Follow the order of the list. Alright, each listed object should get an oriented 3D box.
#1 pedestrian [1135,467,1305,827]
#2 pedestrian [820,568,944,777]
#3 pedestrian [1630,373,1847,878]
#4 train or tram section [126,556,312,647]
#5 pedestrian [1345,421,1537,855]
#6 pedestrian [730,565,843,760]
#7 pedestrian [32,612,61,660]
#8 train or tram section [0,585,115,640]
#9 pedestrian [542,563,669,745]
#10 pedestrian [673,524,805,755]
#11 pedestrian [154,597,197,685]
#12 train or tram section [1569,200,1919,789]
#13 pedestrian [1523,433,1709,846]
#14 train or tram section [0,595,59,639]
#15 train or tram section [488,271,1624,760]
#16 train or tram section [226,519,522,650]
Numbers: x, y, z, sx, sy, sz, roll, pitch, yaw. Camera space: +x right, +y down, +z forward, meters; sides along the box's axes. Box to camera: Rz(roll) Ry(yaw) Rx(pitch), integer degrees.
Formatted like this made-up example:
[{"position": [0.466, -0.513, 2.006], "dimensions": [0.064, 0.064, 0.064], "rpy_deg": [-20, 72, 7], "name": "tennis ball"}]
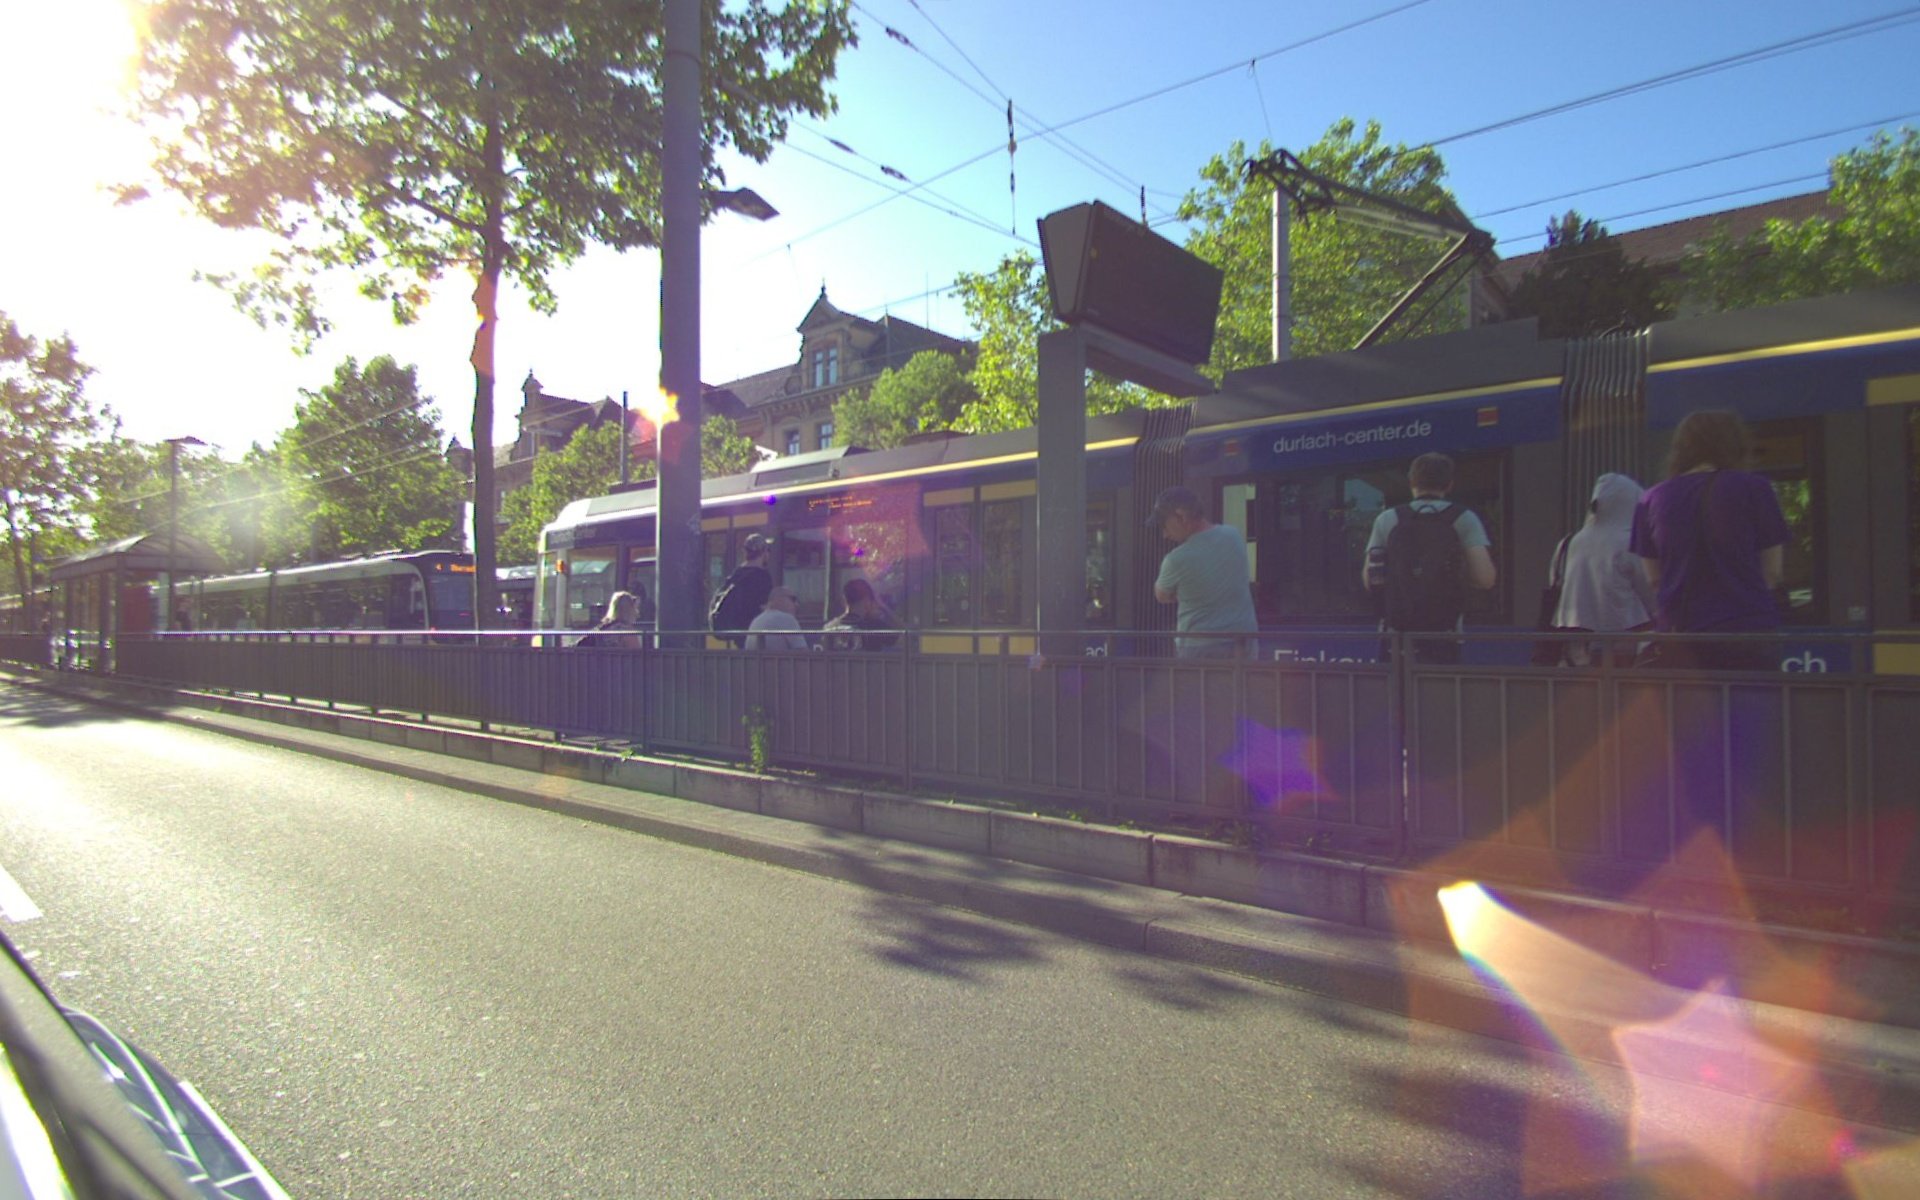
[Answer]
[{"position": [1.304, 0.225, 5.064], "dimensions": [0.570, 1.646, 0.653], "rpy_deg": [-2, -3, 41], "name": "pedestrian"}, {"position": [-0.498, 0.450, 6.507], "dimensions": [0.604, 1.256, 0.528], "rpy_deg": [-2, -3, 39], "name": "pedestrian"}, {"position": [2.971, 0.093, 3.860], "dimensions": [0.570, 1.709, 0.653], "rpy_deg": [-2, -3, 41], "name": "pedestrian"}, {"position": [-34.007, 0.280, 45.811], "dimensions": [18.265, 3.460, 2.841], "rpy_deg": [-2, -1, 41], "name": "train or tram section"}, {"position": [2.106, 0.157, 4.425], "dimensions": [0.570, 1.709, 0.653], "rpy_deg": [-2, -3, 41], "name": "pedestrian"}, {"position": [-1.234, 0.435, 7.221], "dimensions": [0.603, 1.309, 0.529], "rpy_deg": [-2, -3, 37], "name": "pedestrian"}, {"position": [-33.167, 1.298, 36.750], "dimensions": [0.623, 1.723, 0.675], "rpy_deg": [-2, -2, 40], "name": "pedestrian"}, {"position": [-47.922, 0.793, 53.472], "dimensions": [15.665, 2.584, 2.536], "rpy_deg": [-2, -2, 41], "name": "train or tram section"}, {"position": [-3.145, 0.469, 8.994], "dimensions": [0.750, 1.521, 0.768], "rpy_deg": [-2, -3, 37], "name": "pedestrian"}, {"position": [-1.804, 0.319, 8.294], "dimensions": [0.722, 1.766, 0.768], "rpy_deg": [-2, -3, 37], "name": "pedestrian"}, {"position": [-15.109, 0.780, 19.499], "dimensions": [0.621, 1.652, 0.560], "rpy_deg": [-2, -2, 42], "name": "pedestrian"}, {"position": [9.966, -0.643, 3.576], "dimensions": [13.105, 3.284, 2.885], "rpy_deg": [-1, 1, 41], "name": "train or tram section"}, {"position": [2.985, 0.172, 4.610], "dimensions": [0.621, 1.721, 0.509], "rpy_deg": [-2, -3, 40], "name": "pedestrian"}, {"position": [-59.554, 1.165, 63.553], "dimensions": [15.064, 2.551, 2.536], "rpy_deg": [-2, -2, 41], "name": "train or tram section"}, {"position": [-1.048, -0.533, 13.088], "dimensions": [15.883, 3.284, 2.885], "rpy_deg": [-1, 1, 41], "name": "train or tram section"}, {"position": [-20.317, -0.185, 33.850], "dimensions": [18.204, 3.460, 2.819], "rpy_deg": [-2, -1, 41], "name": "train or tram section"}]
